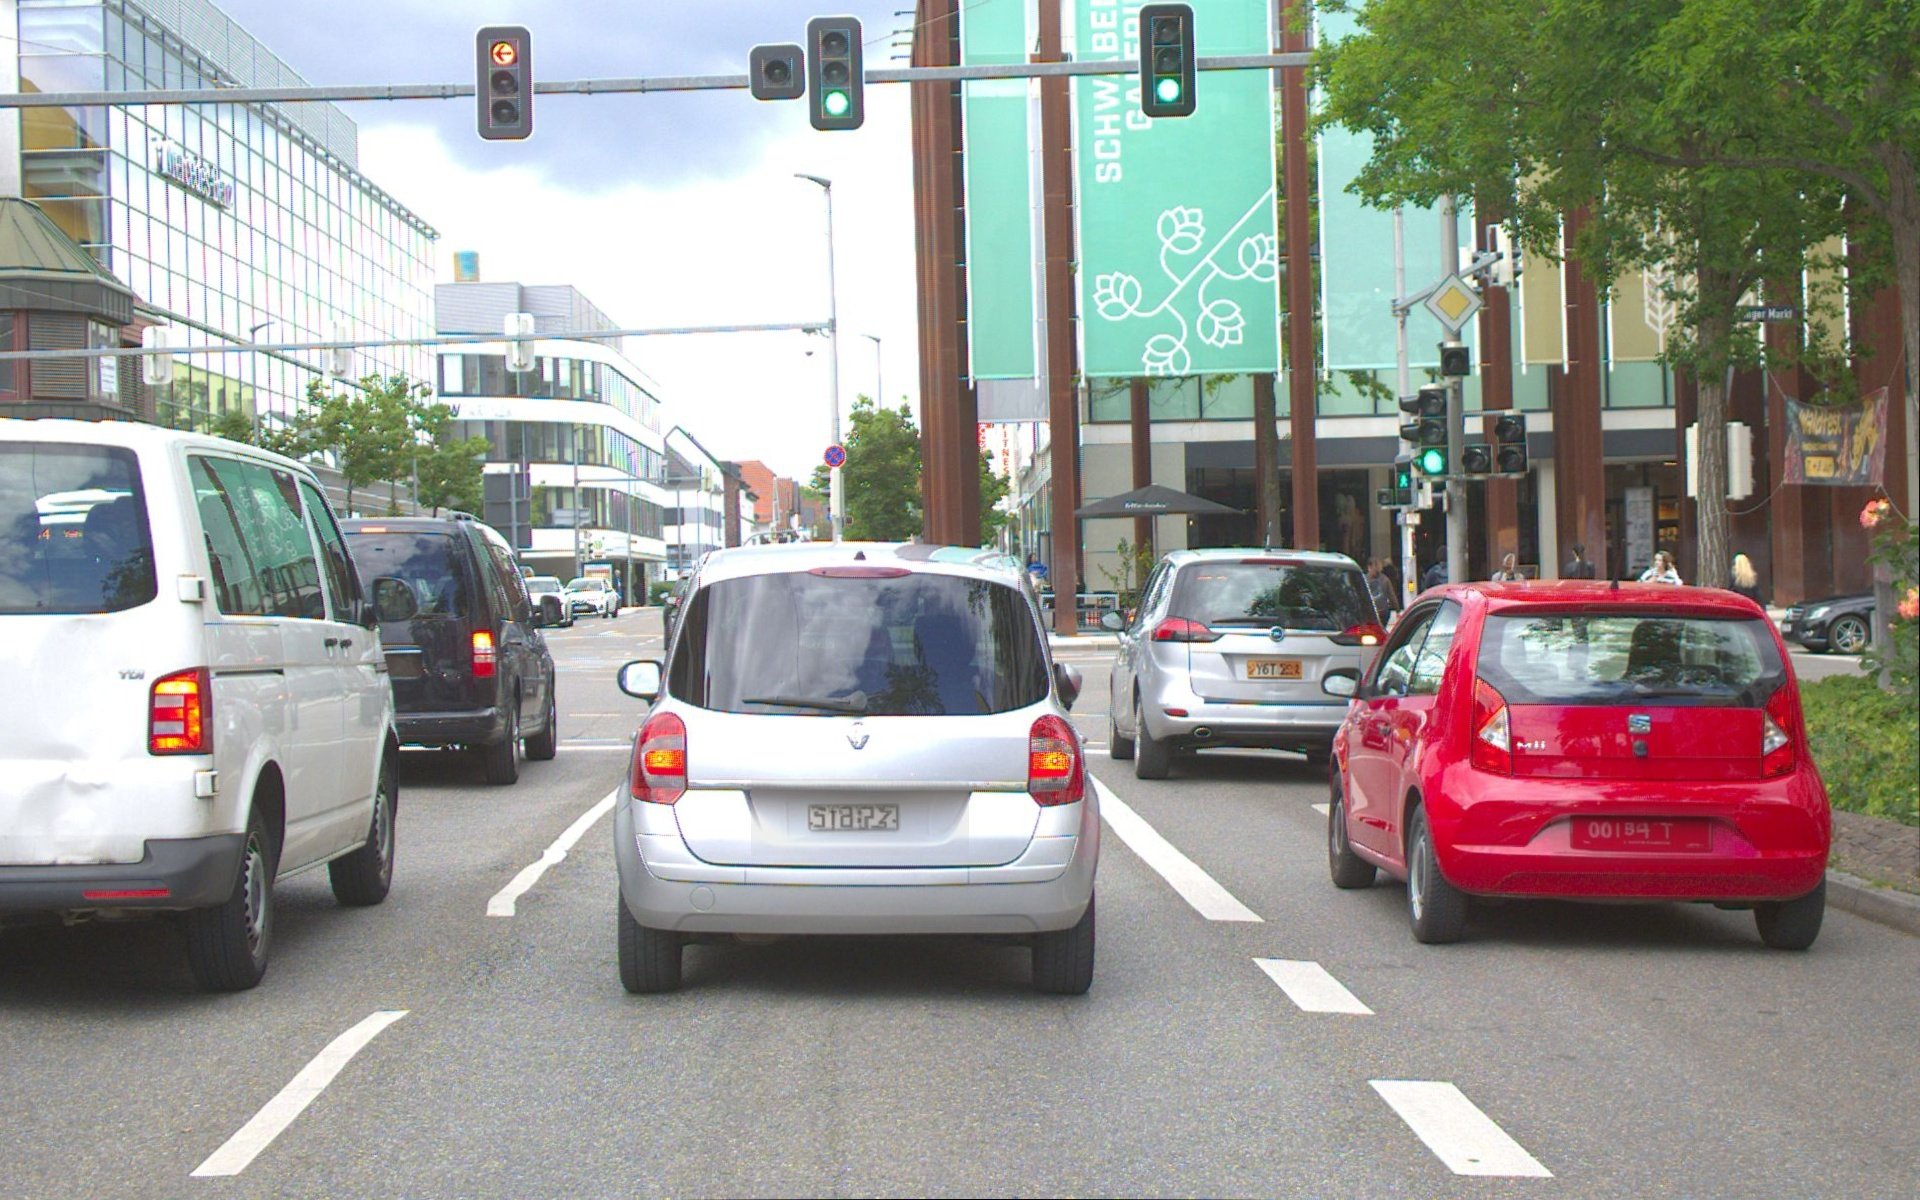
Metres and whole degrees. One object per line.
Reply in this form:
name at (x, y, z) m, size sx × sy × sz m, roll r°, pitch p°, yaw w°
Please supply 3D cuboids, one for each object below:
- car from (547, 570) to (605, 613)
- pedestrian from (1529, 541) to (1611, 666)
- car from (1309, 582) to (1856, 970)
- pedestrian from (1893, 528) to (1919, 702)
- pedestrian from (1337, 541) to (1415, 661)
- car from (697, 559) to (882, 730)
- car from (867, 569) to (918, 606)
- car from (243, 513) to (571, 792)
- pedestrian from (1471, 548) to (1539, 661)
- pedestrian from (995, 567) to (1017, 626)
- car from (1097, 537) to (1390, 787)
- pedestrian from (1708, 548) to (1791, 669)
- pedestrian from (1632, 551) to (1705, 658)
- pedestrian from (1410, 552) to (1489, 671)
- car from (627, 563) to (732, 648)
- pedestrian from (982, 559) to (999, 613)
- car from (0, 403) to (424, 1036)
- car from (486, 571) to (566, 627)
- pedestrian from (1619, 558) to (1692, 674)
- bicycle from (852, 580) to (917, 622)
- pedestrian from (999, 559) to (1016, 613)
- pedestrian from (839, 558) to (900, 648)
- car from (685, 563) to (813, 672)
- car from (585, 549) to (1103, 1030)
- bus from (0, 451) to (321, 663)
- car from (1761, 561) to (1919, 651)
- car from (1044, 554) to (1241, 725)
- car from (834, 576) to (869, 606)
car at (-13.874, -0.318, 124.432) m, size 1.660 × 1.460 × 4.000 m, roll -2°, pitch 1°, yaw -1°
pedestrian at (8.836, 0.044, 49.847) m, size 0.878 × 1.761 × 1.120 m, roll -1°, pitch 0°, yaw -4°
car at (2.564, 0.664, 14.944) m, size 1.626 × 1.443 × 3.642 m, roll 1°, pitch 1°, yaw -1°
pedestrian at (9.977, 0.140, 34.162) m, size 1.056 × 1.709 × 1.110 m, roll -1°, pitch 0°, yaw -2°
pedestrian at (5.978, 0.009, 49.437) m, size 0.878 × 1.675 × 1.120 m, roll -1°, pitch 0°, yaw -4°
car at (-1.612, 0.391, 33.492) m, size 1.669 × 1.549 × 3.642 m, roll 1°, pitch 1°, yaw -1°
car at (-2.532, -0.467, 129.390) m, size 1.877 × 1.330 × 4.000 m, roll 1°, pitch 1°, yaw -1°
car at (-3.898, 0.322, 24.900) m, size 1.707 × 1.814 × 4.572 m, roll 1°, pitch 1°, yaw -1°
pedestrian at (7.940, 0.061, 50.093) m, size 0.741 × 1.621 × 0.954 m, roll -2°, pitch 1°, yaw -4°
pedestrian at (0.960, -0.081, 71.676) m, size 0.447 × 1.216 × 0.606 m, roll -1°, pitch 0°, yaw 2°
car at (2.041, 0.405, 25.865) m, size 1.739 × 1.695 × 4.381 m, roll 1°, pitch 1°, yaw -1°
pedestrian at (11.702, 0.117, 50.968) m, size 0.878 × 1.761 × 1.120 m, roll -1°, pitch 0°, yaw -4°
pedestrian at (10.710, 0.061, 51.973) m, size 0.821 × 1.589 × 1.039 m, roll -1°, pitch 0°, yaw -3°
pedestrian at (7.050, 0.154, 49.541) m, size 0.878 × 1.675 × 1.120 m, roll -1°, pitch 0°, yaw -4°
car at (-5.118, 0.073, 63.050) m, size 1.669 × 1.490 × 3.642 m, roll 1°, pitch 1°, yaw -1°
pedestrian at (0.886, -0.413, 99.401) m, size 0.427 × 1.544 × 0.481 m, roll -1°, pitch 0°, yaw -3°
car at (-3.408, 0.351, 13.320) m, size 1.993 × 2.007 × 4.840 m, roll 0°, pitch 1°, yaw -1°
car at (-11.992, -0.046, 95.257) m, size 1.744 × 1.454 × 4.235 m, roll -2°, pitch 1°, yaw -1°
pedestrian at (9.898, 0.216, 48.949) m, size 0.741 × 1.621 × 0.954 m, roll -2°, pitch 1°, yaw -4°
bicycle at (-1.862, 0.022, 85.109) m, size 1.560 × 0.989 × 0.752 m, roll -1°, pitch 0°, yaw 2°
pedestrian at (1.373, -0.405, 99.373) m, size 0.427 × 1.544 × 0.481 m, roll -1°, pitch 0°, yaw -3°
pedestrian at (-1.669, 0.056, 63.657) m, size 0.871 × 1.641 × 0.679 m, roll 0°, pitch 1°, yaw 33°
car at (-3.011, 0.228, 49.610) m, size 1.669 × 1.490 × 3.642 m, roll 1°, pitch 1°, yaw -1°
car at (-0.416, 0.601, 13.027) m, size 1.669 × 1.549 × 3.642 m, roll 1°, pitch 1°, yaw -1°
bus at (-14.806, -0.775, 61.316) m, size 2.988 × 3.316 × 12.303 m, roll -4°, pitch 1°, yaw 7°
car at (14.990, 0.078, 54.409) m, size 4.172 × 1.399 × 1.801 m, roll 0°, pitch 1°, yaw -4°
car at (1.878, 0.373, 36.542) m, size 1.739 × 1.695 × 4.381 m, roll 1°, pitch 1°, yaw -1°
car at (-5.500, -0.463, 173.986) m, size 1.660 × 1.460 × 4.000 m, roll -2°, pitch 1°, yaw -1°
